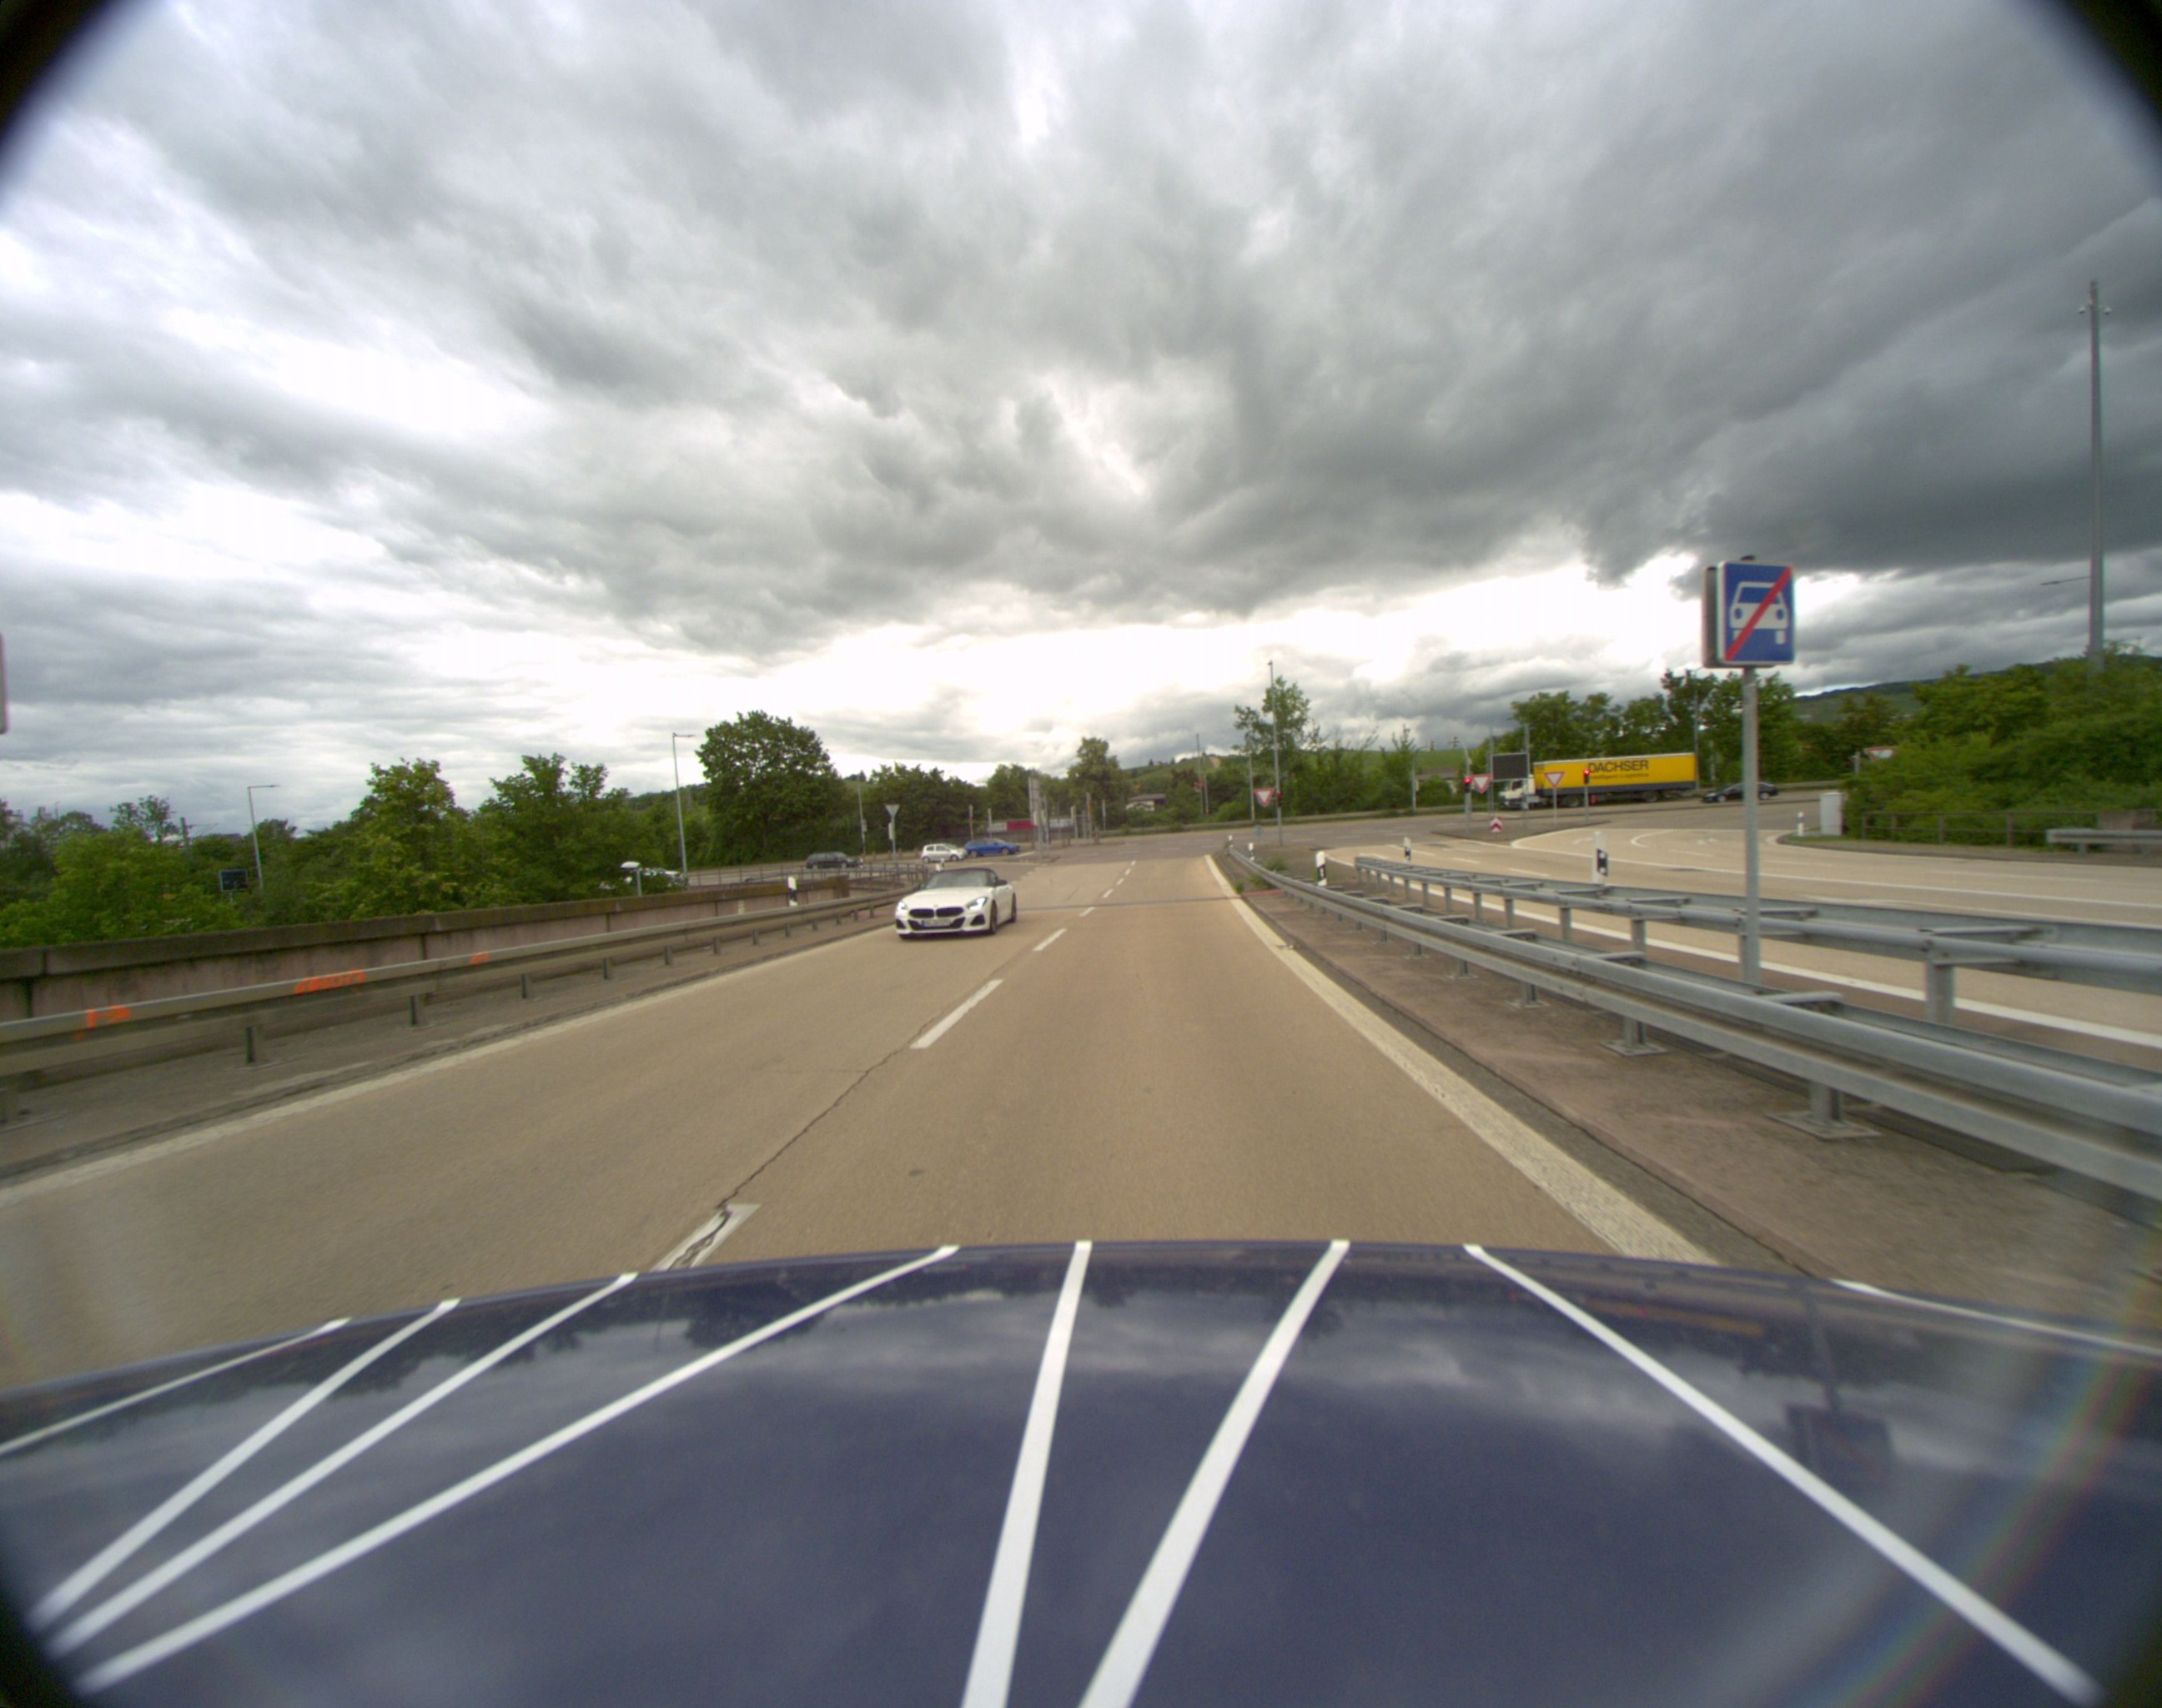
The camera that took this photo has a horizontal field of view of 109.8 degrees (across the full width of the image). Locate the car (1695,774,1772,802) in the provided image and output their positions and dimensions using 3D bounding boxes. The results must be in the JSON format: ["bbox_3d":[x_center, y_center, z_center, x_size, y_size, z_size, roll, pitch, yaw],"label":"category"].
[{"bbox_3d":[48.991,-4.965,57.125,4.119,1.653,1.628,-6,5,11],"label":"car"}]

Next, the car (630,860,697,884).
[{"bbox_3d":[-36.431,1.534,66.353,4.709,1.552,1.877,-4,4,8],"label":"car"}]

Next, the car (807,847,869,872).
[{"bbox_3d":[-19.960,0.446,62.547,4.288,1.548,1.948,-4,4,11],"label":"car"}]

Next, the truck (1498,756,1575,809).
[{"bbox_3d":[39.640,-6.176,66.259,5.093,4.182,2.636,-3,4,13],"label":"truck"}]

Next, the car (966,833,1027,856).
[{"bbox_3d":[-6.862,-0.773,61.900,4.535,1.446,1.610,-4,4,14],"label":"car"}]

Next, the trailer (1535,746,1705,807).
[{"bbox_3d":[45.742,-6.495,64.860,11.637,4.182,2.636,-3,4,13],"label":"trailer"}]

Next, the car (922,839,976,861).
[{"bbox_3d":[-10.378,-0.329,59.850,3.743,1.367,1.629,-4,4,13],"label":"car"}]

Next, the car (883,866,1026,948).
[{"bbox_3d":[-2.464,1.002,16.157,1.862,1.337,4.826,-3,0,4],"label":"car"}]
